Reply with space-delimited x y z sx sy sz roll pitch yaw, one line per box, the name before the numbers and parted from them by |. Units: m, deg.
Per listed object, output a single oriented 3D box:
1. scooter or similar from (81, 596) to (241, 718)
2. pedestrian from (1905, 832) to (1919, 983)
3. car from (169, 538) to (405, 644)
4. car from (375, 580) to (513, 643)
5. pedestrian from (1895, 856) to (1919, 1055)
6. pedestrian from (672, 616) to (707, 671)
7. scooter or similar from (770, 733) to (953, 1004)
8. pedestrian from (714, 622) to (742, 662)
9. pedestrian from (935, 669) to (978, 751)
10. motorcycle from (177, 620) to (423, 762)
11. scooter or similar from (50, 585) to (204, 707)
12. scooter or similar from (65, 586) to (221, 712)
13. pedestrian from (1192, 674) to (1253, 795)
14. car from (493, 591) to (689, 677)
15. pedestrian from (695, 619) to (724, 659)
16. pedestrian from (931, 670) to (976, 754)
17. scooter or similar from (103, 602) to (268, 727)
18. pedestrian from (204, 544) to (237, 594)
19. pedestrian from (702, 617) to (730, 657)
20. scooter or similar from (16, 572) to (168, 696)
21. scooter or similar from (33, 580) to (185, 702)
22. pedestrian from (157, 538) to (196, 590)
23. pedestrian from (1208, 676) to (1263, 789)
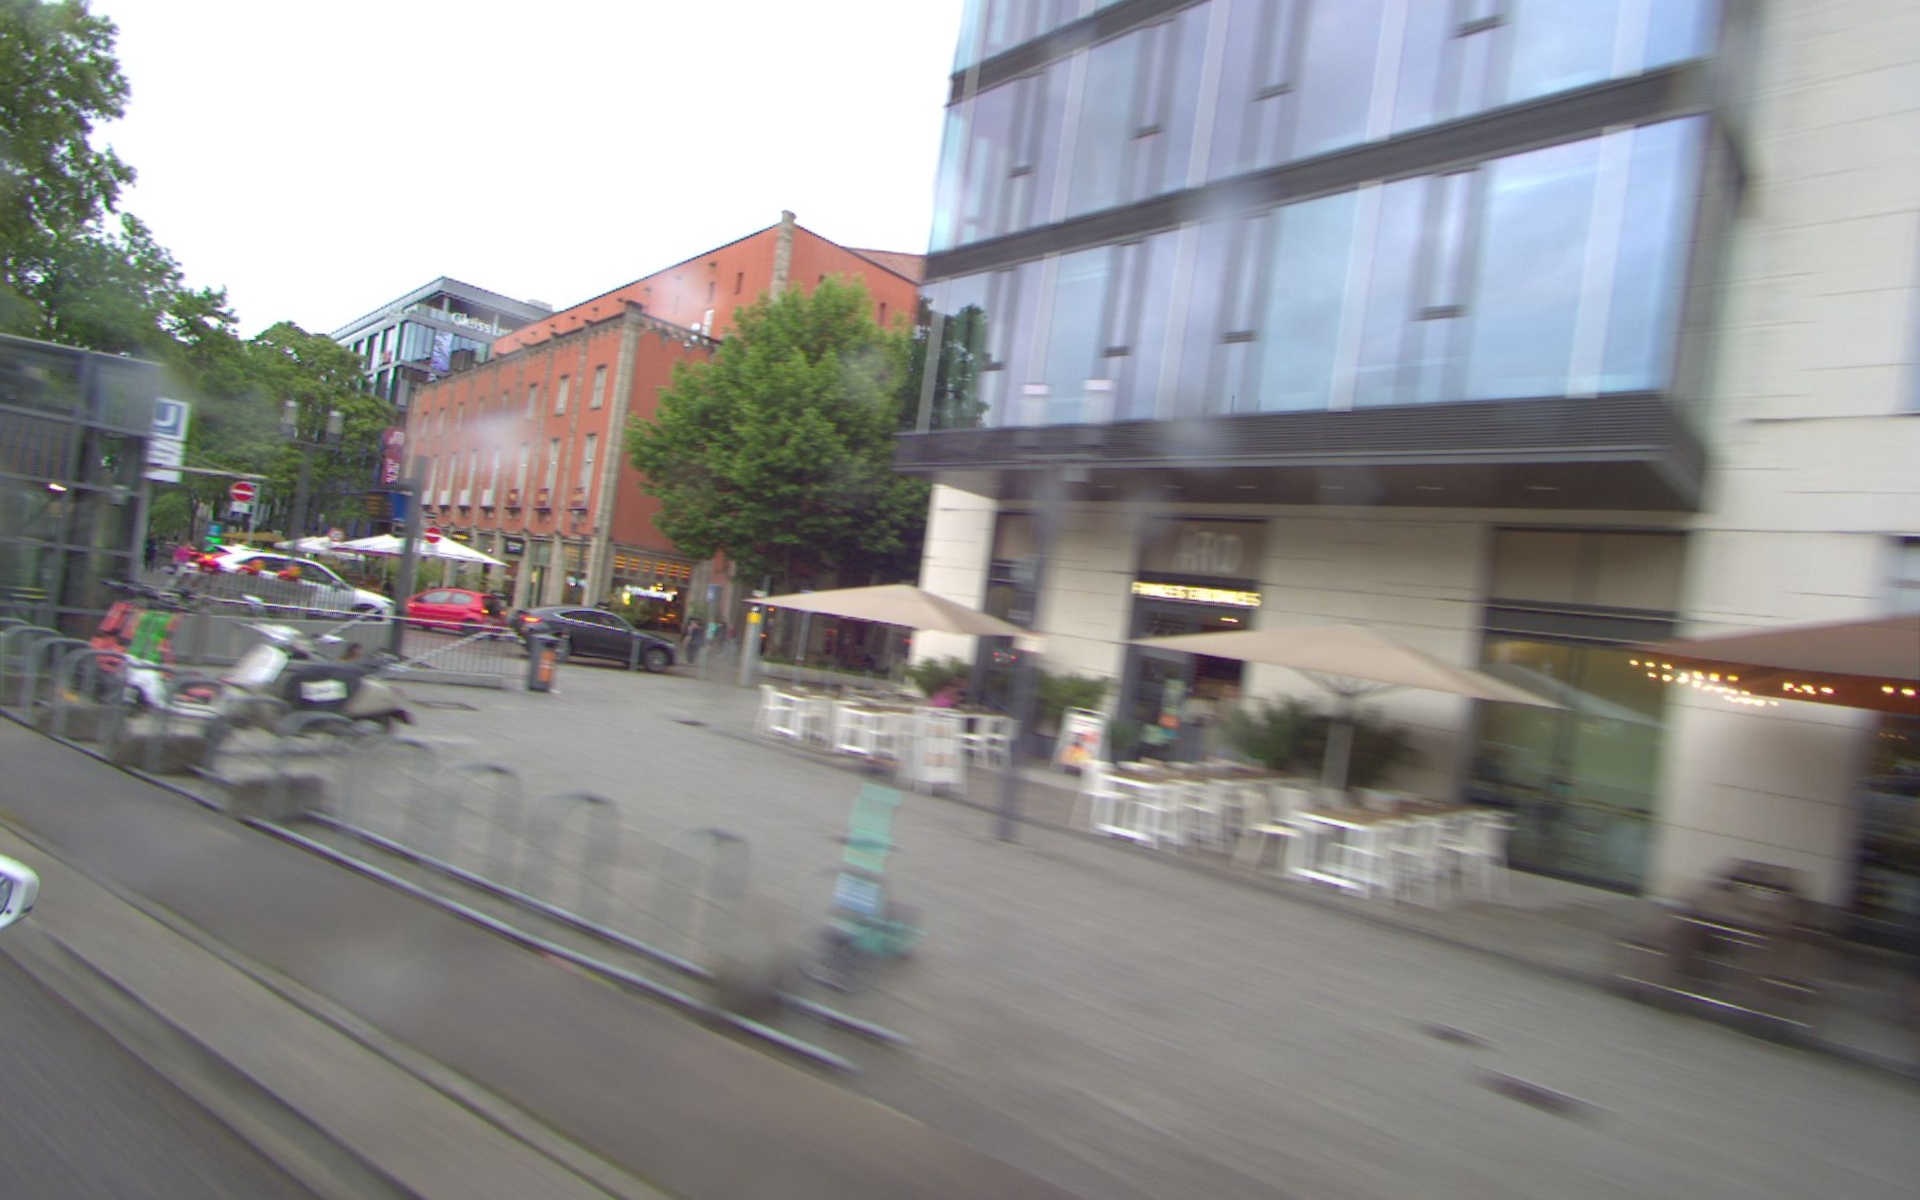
scooter or similar | -8.433 0.630 10.660 0.436 1.171 1.116 7 -2 29
pedestrian | 9.171 2.866 9.225 0.627 1.340 0.817 6 -4 43
car | -15.542 -0.172 23.395 1.838 1.636 4.099 5 -7 42
car | -16.651 0.404 32.548 3.463 1.431 1.617 9 -3 3
pedestrian | 7.200 2.589 7.207 0.627 1.340 0.817 6 -4 43
pedestrian | -9.721 1.574 36.188 0.795 1.828 0.609 7 -3 32
scooter or similar | -0.523 1.456 5.764 0.472 1.286 1.095 7 -2 19
pedestrian | -10.006 1.821 43.421 0.601 1.614 0.752 6 -3 39
pedestrian | -0.060 2.004 18.348 0.433 1.420 0.472 7 -1 -44
motorcycle | -6.248 0.894 9.643 0.597 1.171 1.782 7 -3 29
scooter or similar | -9.128 0.528 11.065 0.359 1.230 1.116 7 -2 29
scooter or similar | -8.793 0.553 10.868 0.359 1.251 1.116 7 -2 29
pedestrian | 4.398 2.242 16.854 0.578 1.916 0.640 6 -1 40
car | -10.448 1.014 28.723 4.725 1.709 1.980 11 -3 -43
pedestrian | -10.579 1.653 42.499 0.601 1.576 0.752 6 -3 39
pedestrian | -0.116 1.974 17.752 0.433 1.420 0.472 7 -1 -44
scooter or similar | -7.988 0.691 10.412 0.522 1.171 1.116 7 -2 29
pedestrian | -28.384 -1.200 38.609 0.735 1.799 0.591 7 -2 35
pedestrian | -10.595 1.627 43.755 0.601 1.614 0.752 6 -3 39
scooter or similar | -9.841 0.413 11.435 0.359 1.283 1.116 7 -2 29
scooter or similar | -9.498 0.484 11.265 0.359 1.248 1.116 7 -2 29
pedestrian | -28.991 -1.331 37.222 0.860 1.799 0.693 7 -3 35
pedestrian | 4.901 2.345 17.886 0.577 1.916 0.640 6 -1 36
